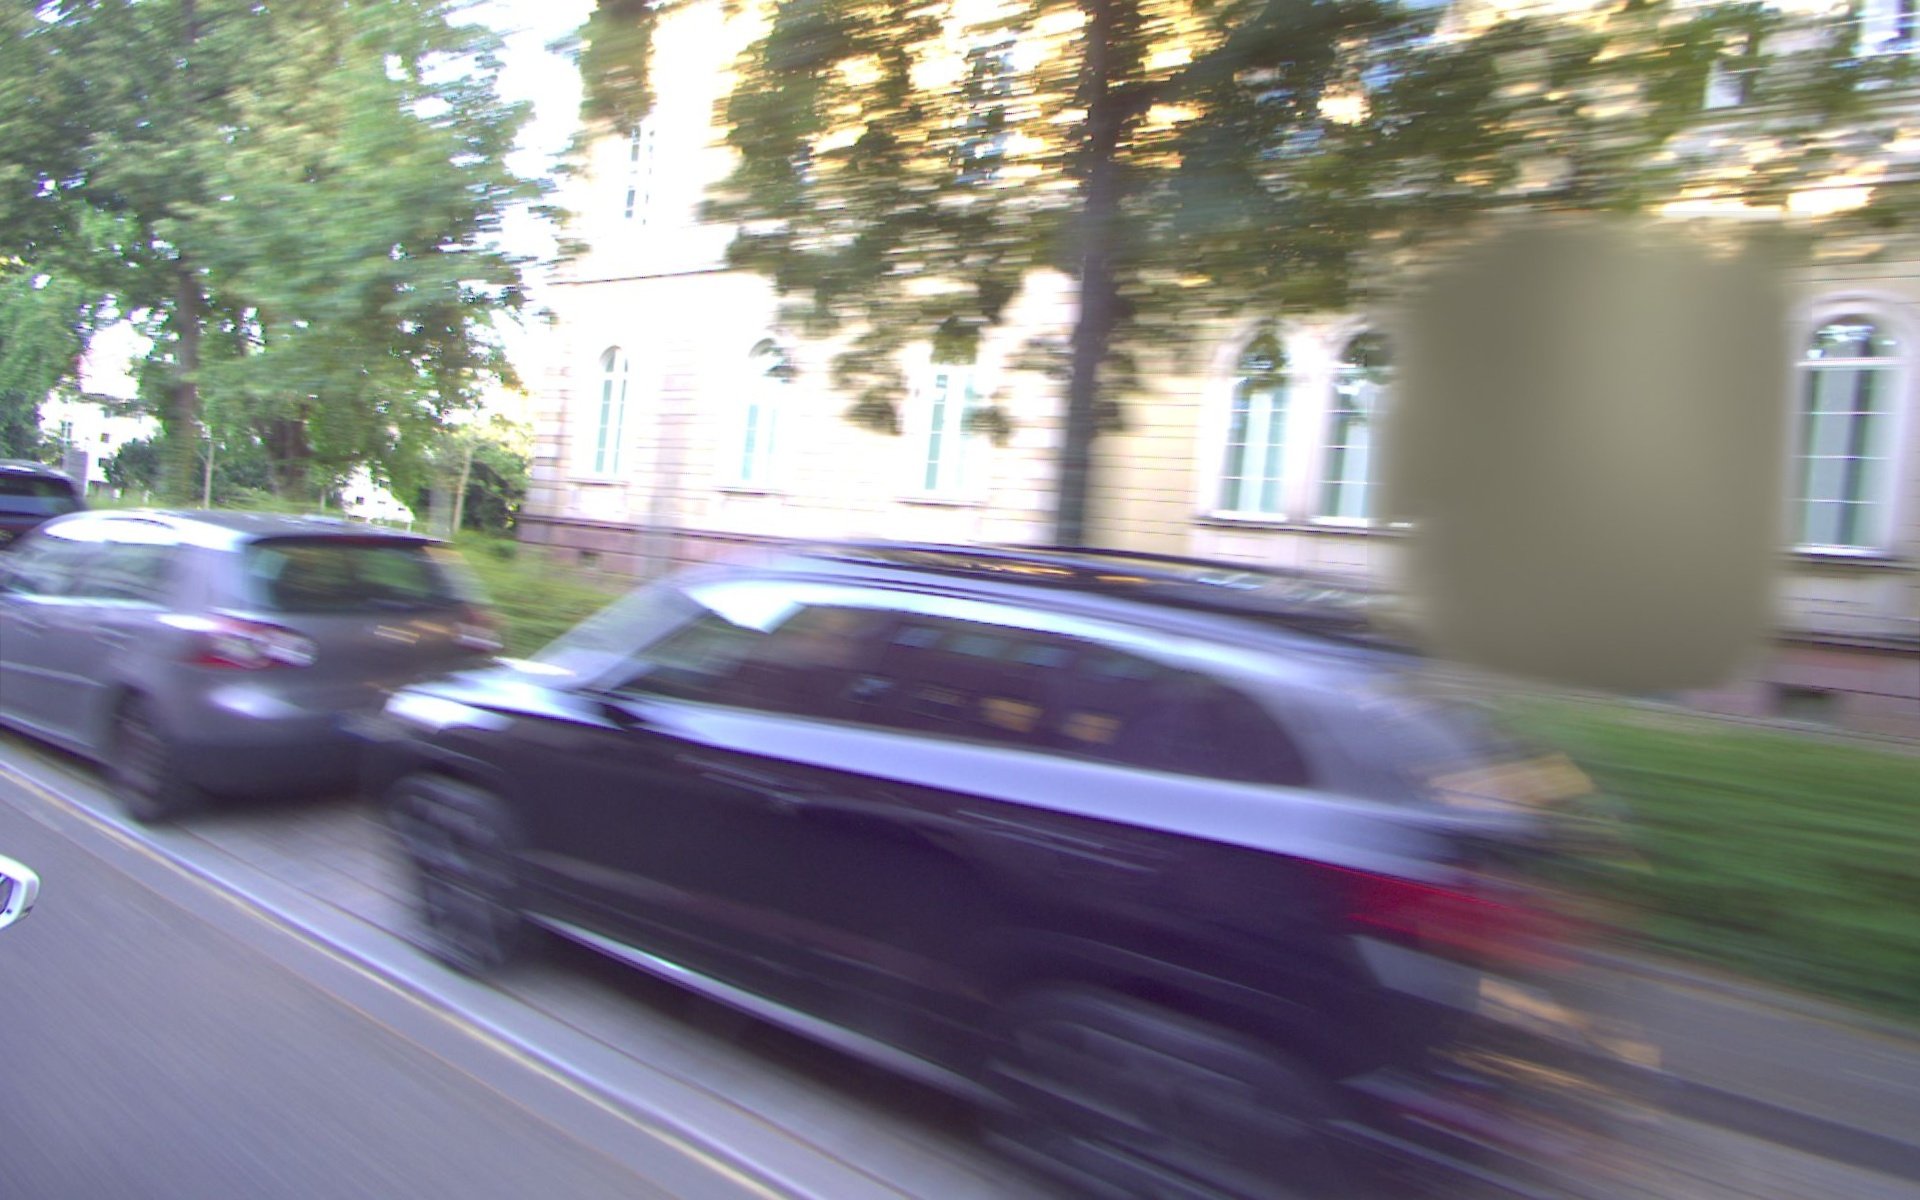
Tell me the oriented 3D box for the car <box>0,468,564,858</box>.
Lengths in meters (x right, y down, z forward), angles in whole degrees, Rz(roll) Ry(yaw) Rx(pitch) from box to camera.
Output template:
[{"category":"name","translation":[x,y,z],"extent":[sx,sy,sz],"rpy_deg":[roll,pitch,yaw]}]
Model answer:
[{"category":"car","translation":[-4.461,0.149,5.917],"extent":[4.119,1.558,1.725],"rpy_deg":[6,1,31]}]

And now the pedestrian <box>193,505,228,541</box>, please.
[{"category":"pedestrian","translation":[-31.224,-3.208,41.901],"extent":[0.773,1.364,0.761],"rpy_deg":[6,1,15]}]

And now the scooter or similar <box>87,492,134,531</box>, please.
[{"category":"scooter or similar","translation":[-30.874,-3.203,36.590],"extent":[0.410,1.261,1.220],"rpy_deg":[6,1,15]}]

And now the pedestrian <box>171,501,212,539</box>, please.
[{"category":"pedestrian","translation":[-31.327,-3.253,41.021],"extent":[0.868,1.364,0.919],"rpy_deg":[6,1,15]}]

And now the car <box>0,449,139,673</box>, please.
[{"category":"car","translation":[-9.117,-0.483,8.768],"extent":[4.638,1.672,1.724],"rpy_deg":[6,1,34]}]

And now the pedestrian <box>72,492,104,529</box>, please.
[{"category":"pedestrian","translation":[-31.168,-3.198,35.951],"extent":[0.657,1.207,0.789],"rpy_deg":[5,1,-31]}]

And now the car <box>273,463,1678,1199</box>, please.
[{"category":"car","translation":[-0.329,0.535,3.553],"extent":[4.344,1.675,1.806],"rpy_deg":[7,5,31]}]
